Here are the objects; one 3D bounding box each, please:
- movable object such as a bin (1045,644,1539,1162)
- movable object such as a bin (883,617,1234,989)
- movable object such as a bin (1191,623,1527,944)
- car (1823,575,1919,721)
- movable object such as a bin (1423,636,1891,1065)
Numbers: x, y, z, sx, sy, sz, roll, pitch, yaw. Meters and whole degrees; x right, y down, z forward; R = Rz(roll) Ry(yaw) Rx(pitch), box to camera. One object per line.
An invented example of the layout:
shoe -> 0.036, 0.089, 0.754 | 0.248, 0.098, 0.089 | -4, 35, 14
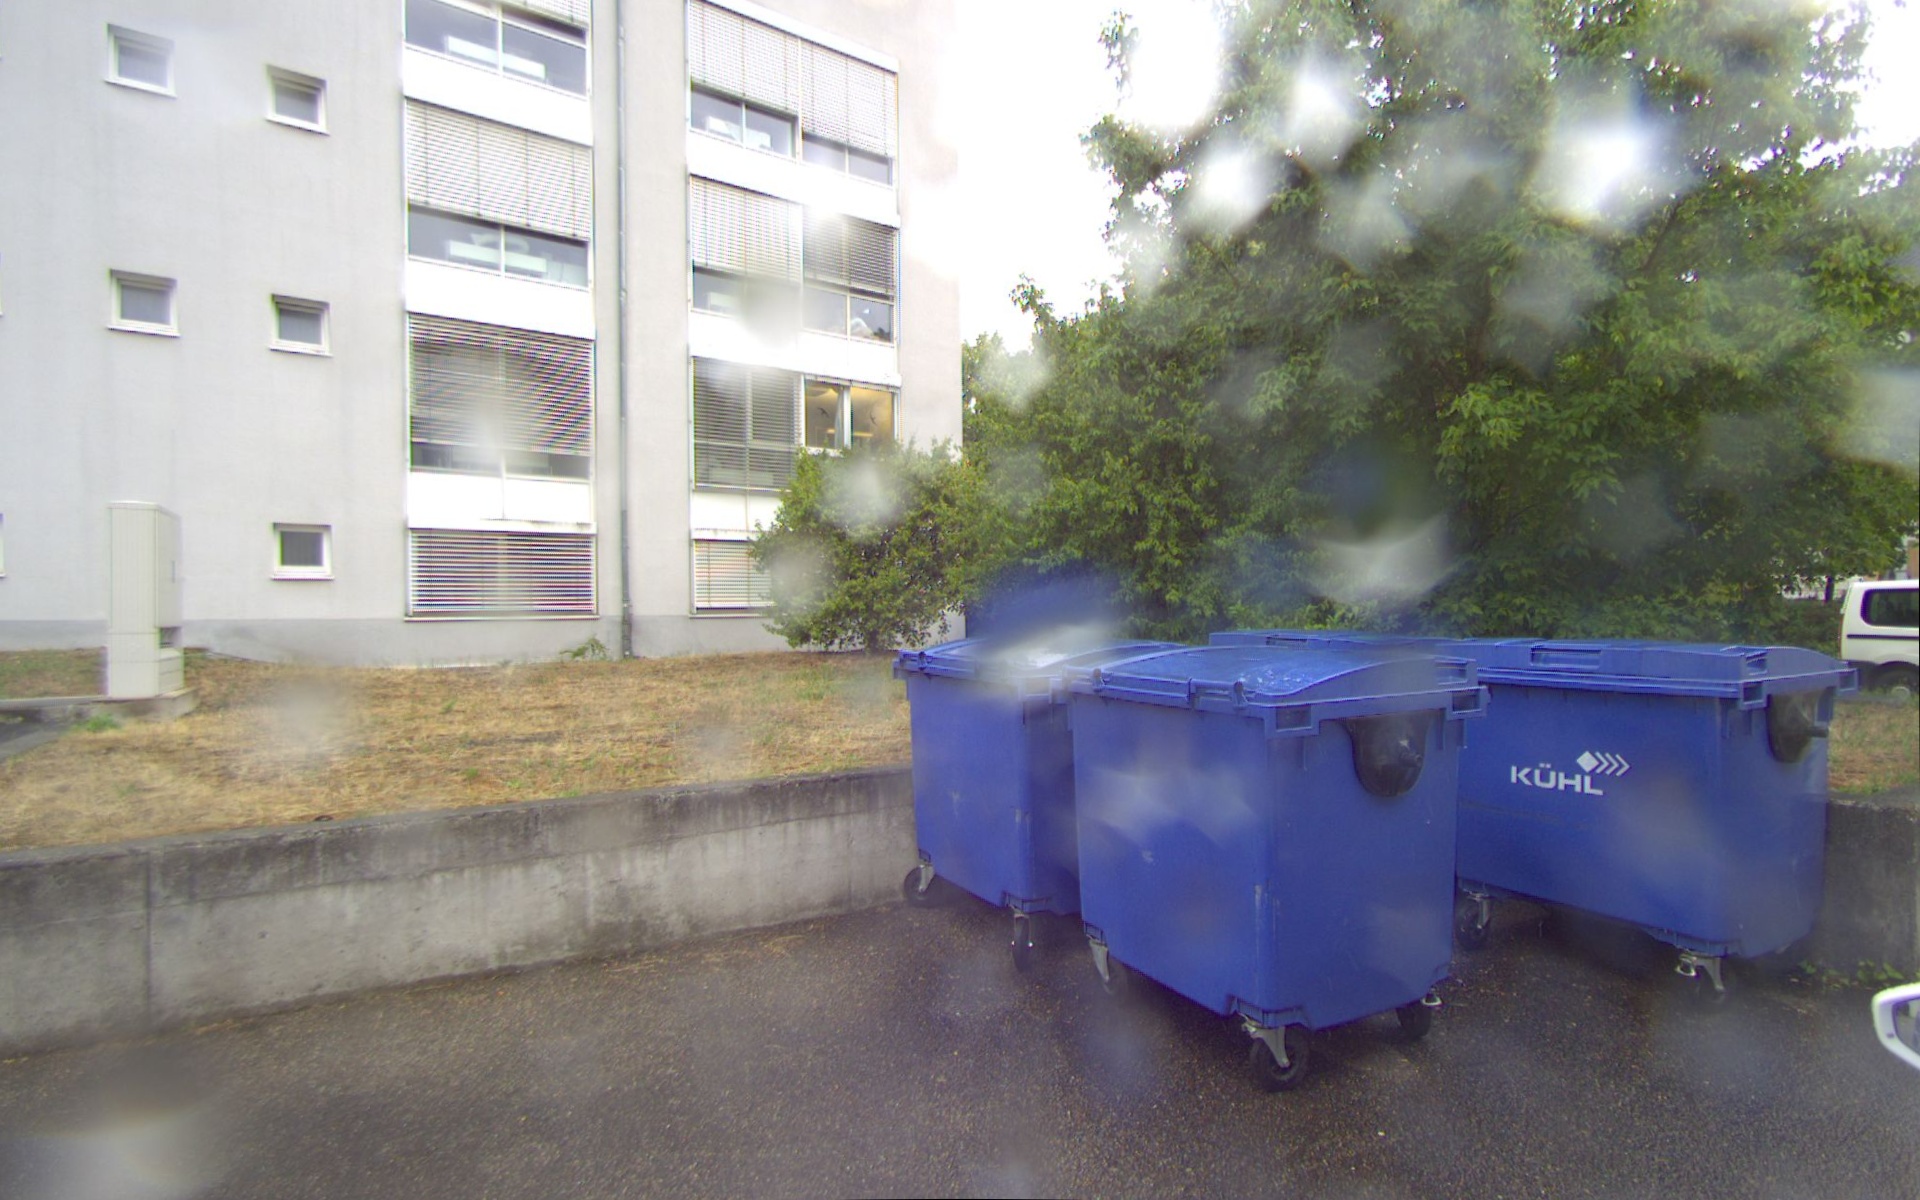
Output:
movable object such as a bin -> 1.077, 0.848, 3.491 | 1.102, 1.355, 1.199 | 0, -1, -25
movable object such as a bin -> 0.414, 0.791, 4.628 | 1.103, 1.355, 1.197 | -3, 1, -29
movable object such as a bin -> 1.990, 0.816, 5.136 | 0.994, 1.355, 1.216 | -2, -1, -29
car -> 14.916, 0.604, 13.372 | 1.975, 2.040, 4.762 | -1, -2, -28
movable object such as a bin -> 2.735, 0.840, 4.041 | 0.994, 1.355, 1.216 | -1, -1, -29
